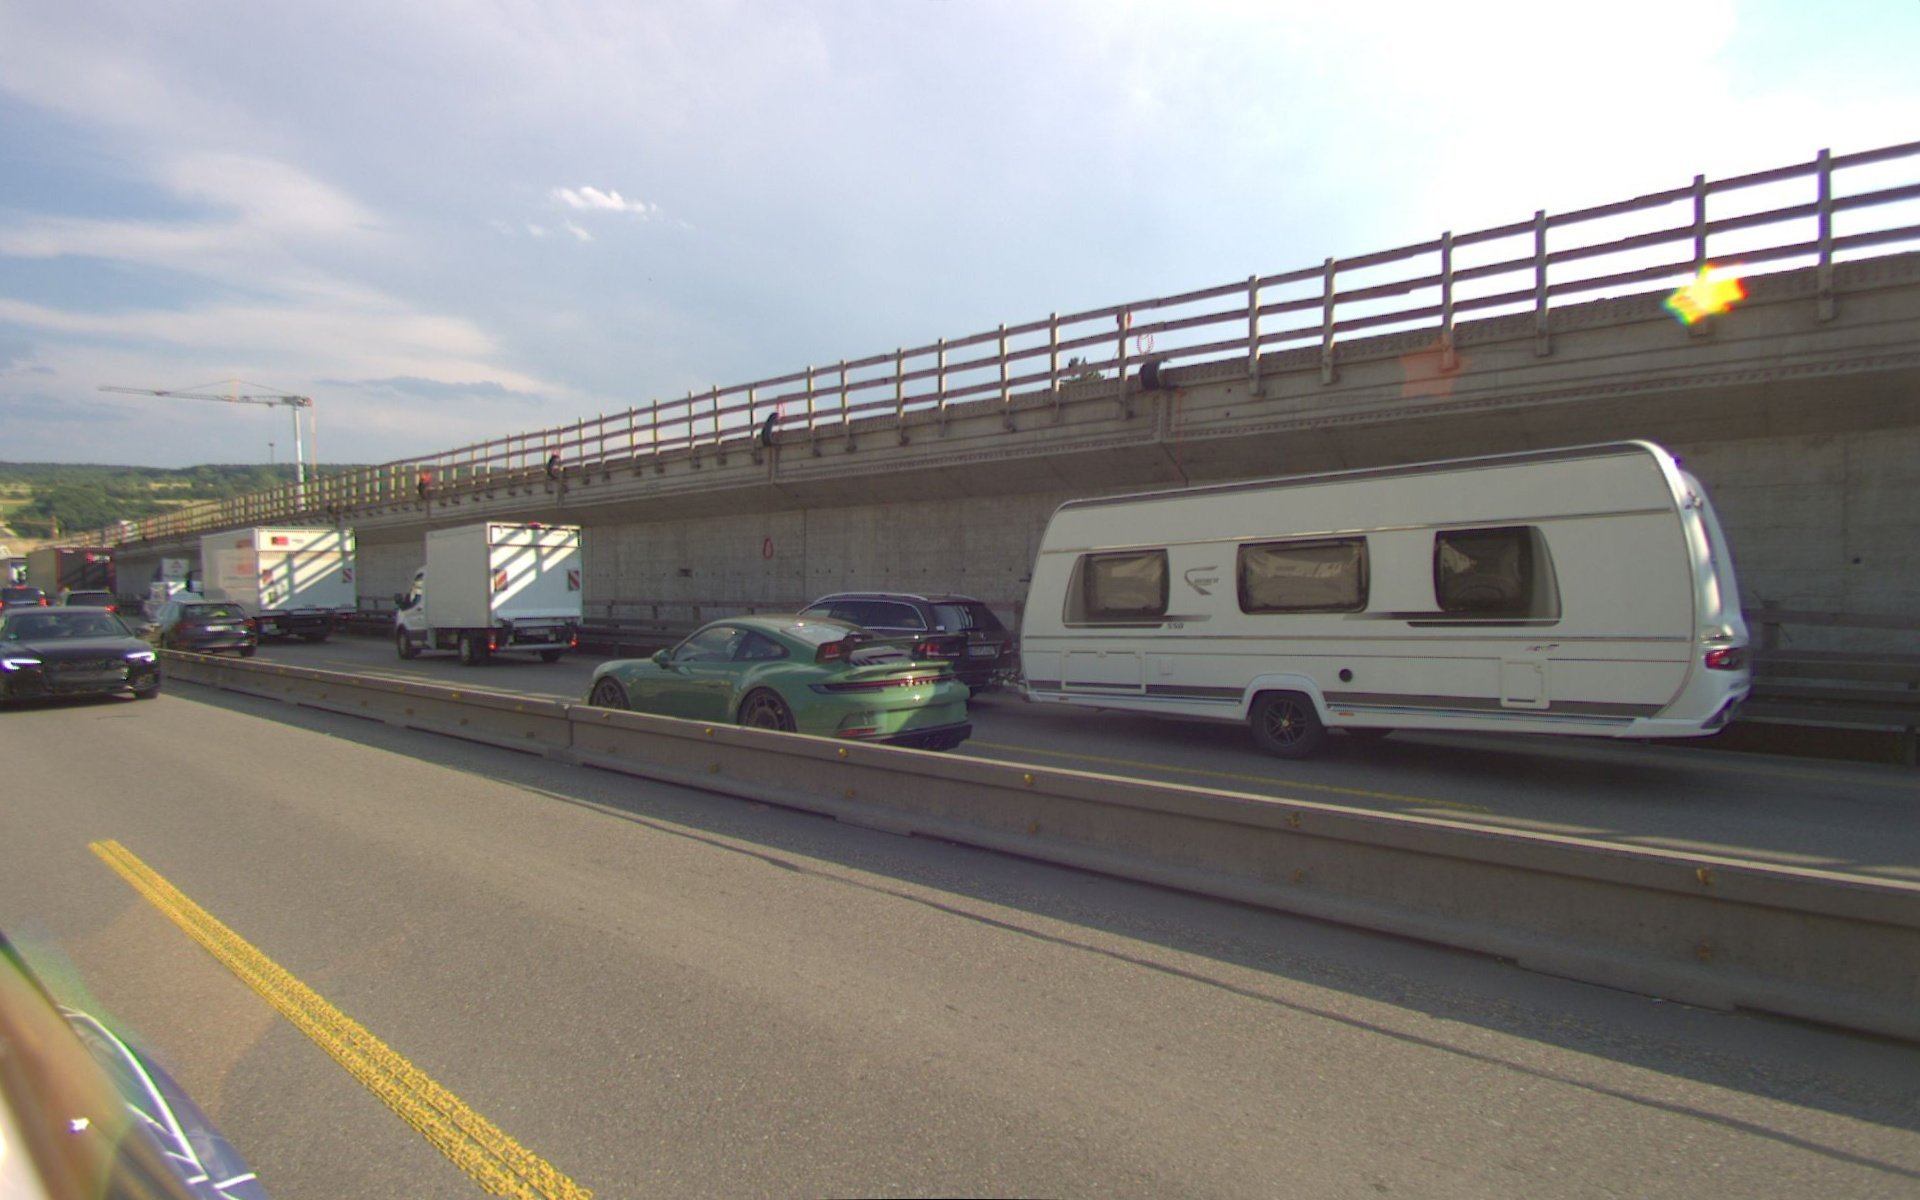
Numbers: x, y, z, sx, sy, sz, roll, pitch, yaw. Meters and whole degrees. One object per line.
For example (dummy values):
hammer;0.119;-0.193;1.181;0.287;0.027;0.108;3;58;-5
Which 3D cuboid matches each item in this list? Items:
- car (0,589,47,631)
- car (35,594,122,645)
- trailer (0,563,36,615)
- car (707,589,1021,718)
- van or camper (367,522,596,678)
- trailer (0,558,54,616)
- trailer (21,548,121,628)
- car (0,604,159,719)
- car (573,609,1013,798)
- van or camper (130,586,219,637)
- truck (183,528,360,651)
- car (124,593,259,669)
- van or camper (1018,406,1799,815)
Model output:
car;-47.455;0.479;50.670;5.289;1.936;1.964;0;3;42
car;-32.730;0.681;37.527;4.688;1.657;1.813;1;3;42
trailer;-79.504;-0.914;84.492;5.974;4.172;2.736;-1;2;42
car;-1.514;0.637;14.306;4.782;1.542;1.623;0;0;42
van or camper;-10.762;-0.051;22.495;6.220;3.011;2.296;1;1;41
trailer;-74.534;-0.935;79.996;14.021;4.172;2.735;-1;2;42
trailer;-52.888;-0.786;60.017;13.768;4.271;2.882;1;3;43
car;-13.996;0.832;15.636;4.348;1.430;1.848;1;2;42
car;-1.717;0.774;9.448;4.237;1.335;1.762;0;0;41
van or camper;-32.580;0.444;41.931;4.919;1.936;1.898;0;2;41
truck;-22.067;-0.323;32.222;8.138;3.450;2.686;1;0;41
car;-18.955;0.687;24.886;4.556;1.607;1.723;1;3;41
van or camper;3.778;0.077;9.664;6.453;2.683;2.287;0;0;42
